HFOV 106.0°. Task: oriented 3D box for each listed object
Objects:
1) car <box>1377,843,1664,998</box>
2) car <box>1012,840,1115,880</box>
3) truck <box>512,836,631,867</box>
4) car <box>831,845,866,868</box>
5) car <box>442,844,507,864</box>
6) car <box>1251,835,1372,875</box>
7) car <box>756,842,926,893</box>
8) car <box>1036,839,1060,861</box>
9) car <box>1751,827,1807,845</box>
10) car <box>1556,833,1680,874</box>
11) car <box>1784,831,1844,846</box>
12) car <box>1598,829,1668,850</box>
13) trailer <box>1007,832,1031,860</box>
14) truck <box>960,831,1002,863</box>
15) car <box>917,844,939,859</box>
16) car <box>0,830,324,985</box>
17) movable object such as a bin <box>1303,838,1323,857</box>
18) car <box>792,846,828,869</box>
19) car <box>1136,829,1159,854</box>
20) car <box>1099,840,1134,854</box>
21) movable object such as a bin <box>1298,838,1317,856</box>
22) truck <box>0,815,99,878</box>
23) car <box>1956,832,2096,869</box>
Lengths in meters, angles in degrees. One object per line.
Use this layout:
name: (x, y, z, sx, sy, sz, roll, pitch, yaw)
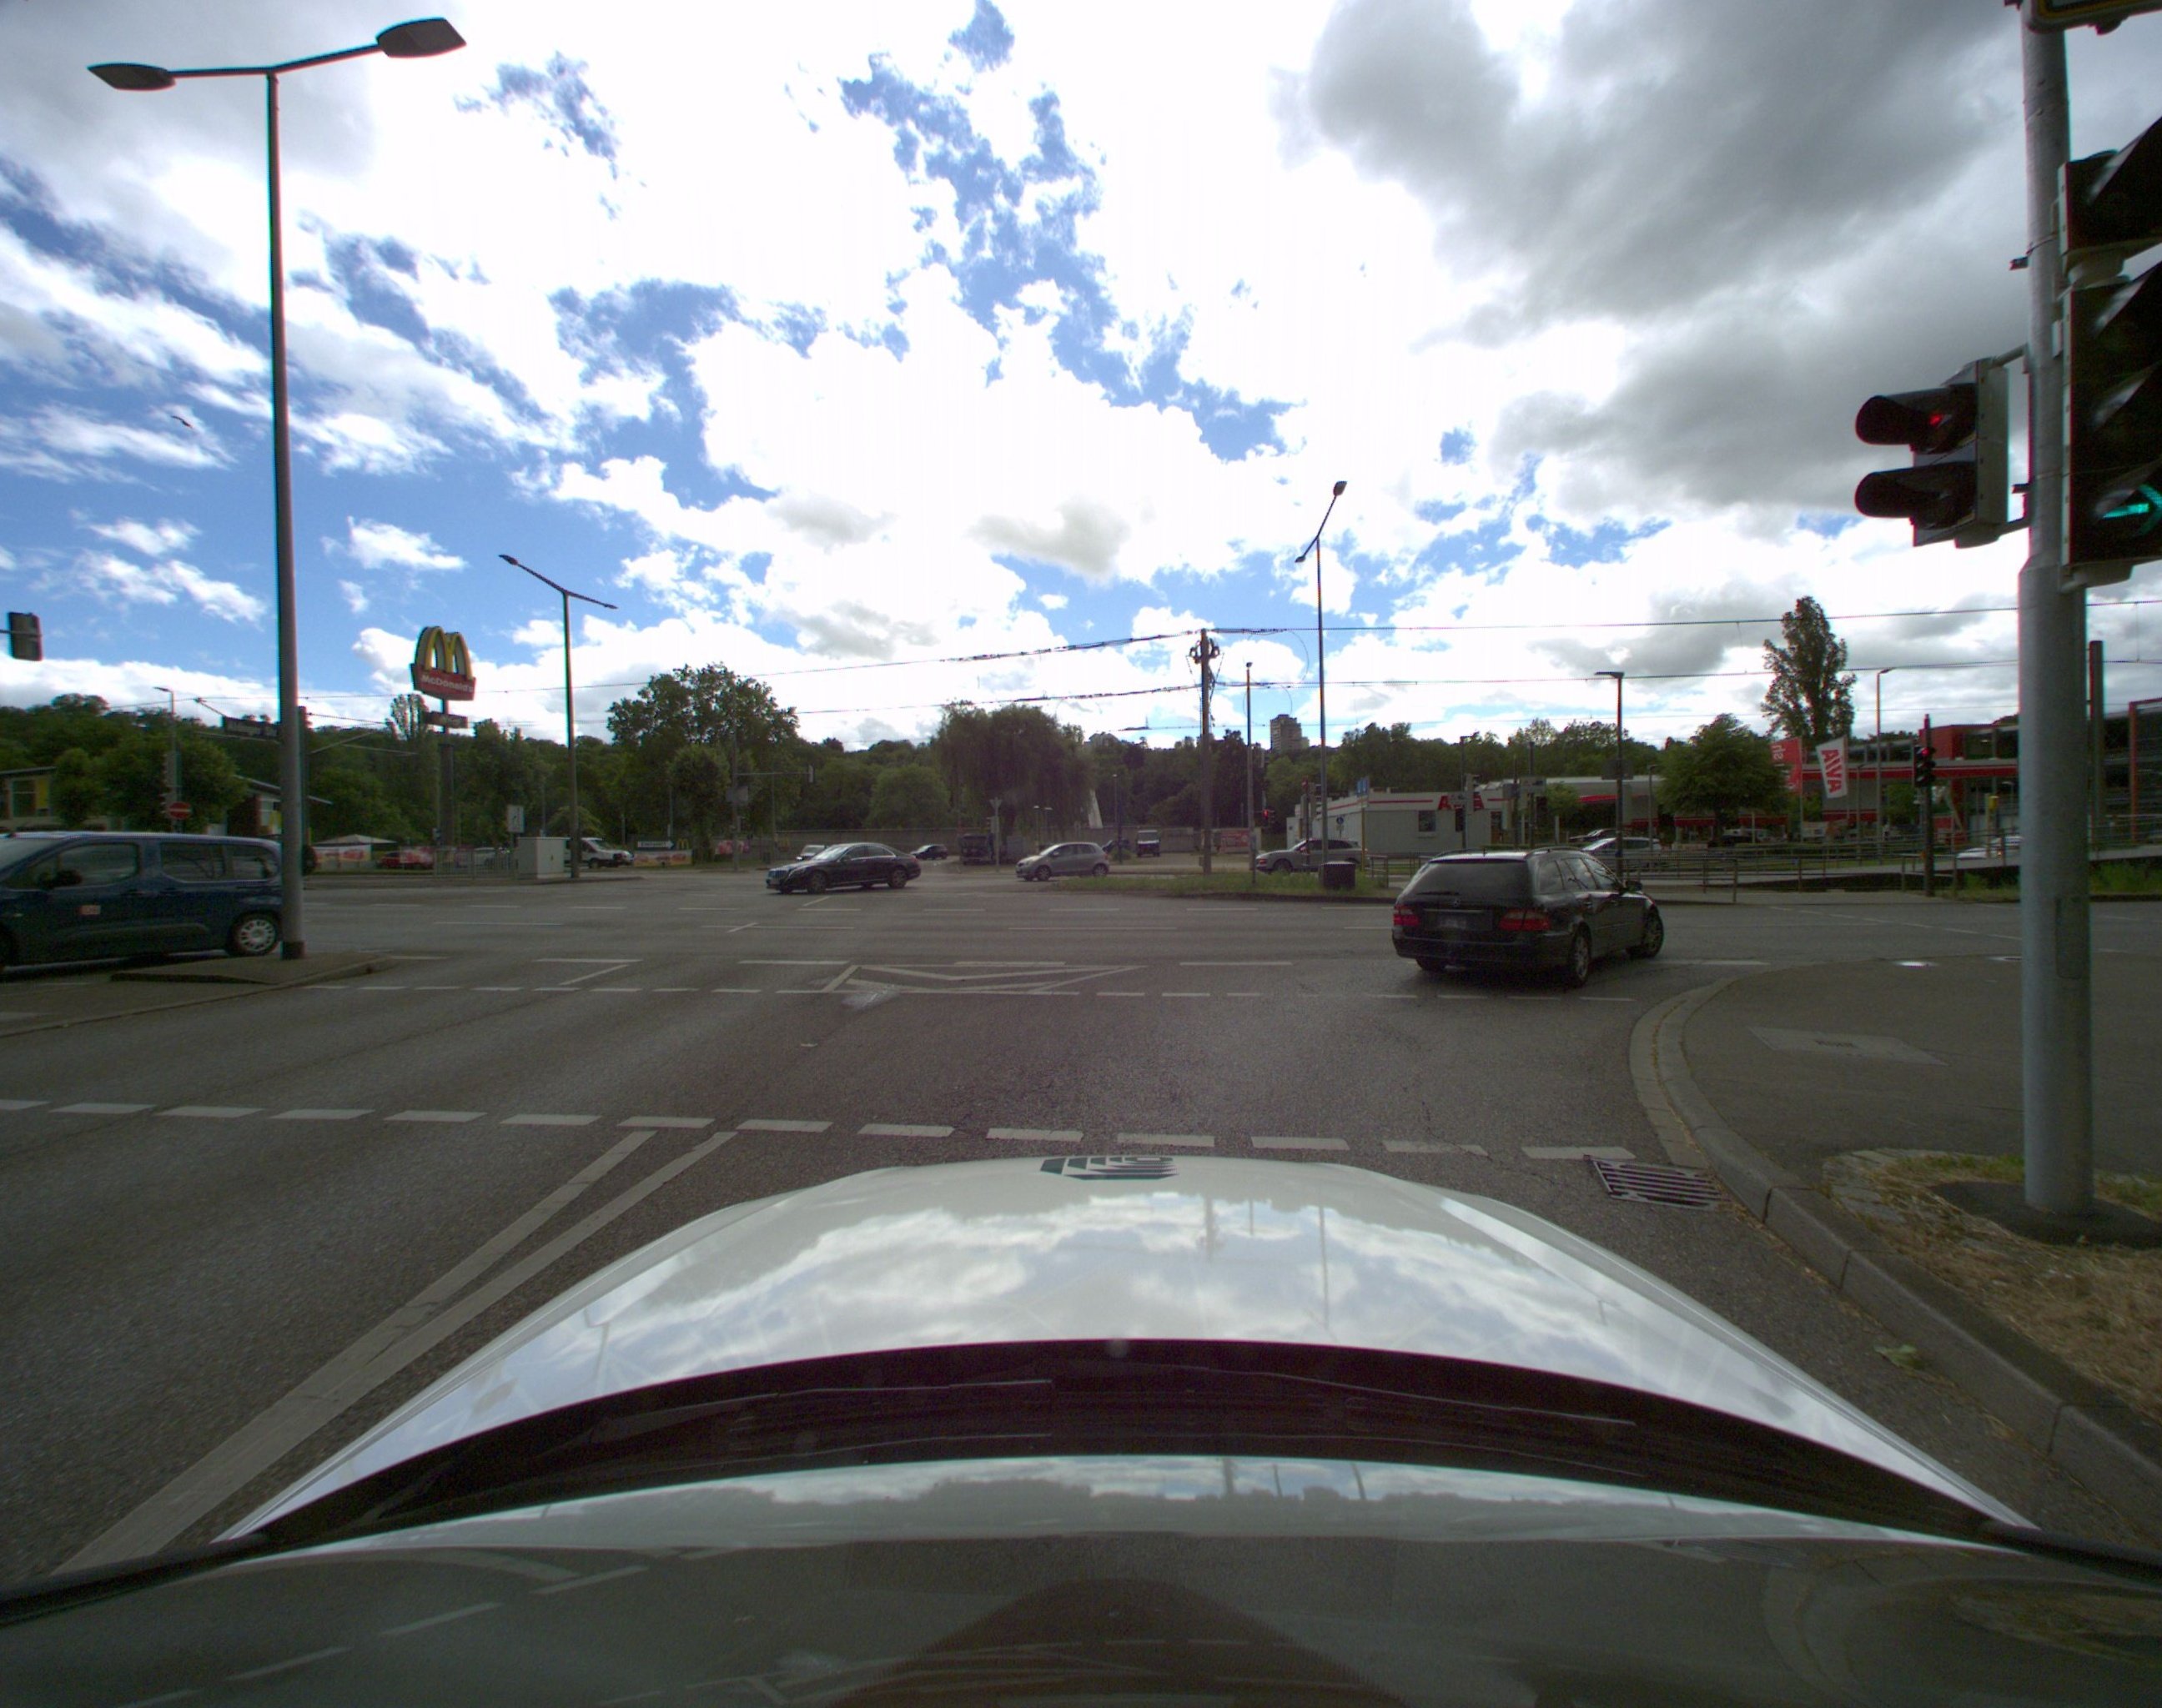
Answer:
car: (5.617, 0.630, 10.131, 4.441, 1.478, 1.817, -1, 1, -43)
car: (-0.719, 0.221, 32.644, 3.792, 1.487, 1.664, -1, 1, -23)
truck: (-33.494, -0.148, 53.657, 6.155, 1.905, 2.602, 0, -1, 1)
car: (-15.420, 0.126, 54.183, 1.791, 1.432, 4.403, -1, 1, -10)
car: (-48.791, -0.015, 65.590, 3.969, 1.529, 1.784, 0, -1, 3)
car: (9.926, 0.051, 35.315, 4.819, 1.642, 1.678, -1, 1, 3)
car: (-7.497, 0.356, 25.932, 1.808, 1.450, 5.026, 0, 1, 40)
car: (-2.706, -0.338, 67.702, 1.743, 1.743, 3.858, -1, 2, 1)
car: (70.965, -1.857, 82.862, 4.032, 1.752, 1.915, 0, -1, 0)
car: (22.691, -0.021, 34.547, 4.093, 1.641, 1.752, -1, 1, 3)
car: (69.768, -1.431, 77.581, 4.032, 1.365, 1.916, 0, -1, 0)
car: (36.893, -0.959, 54.474, 3.608, 1.350, 1.620, -1, 1, 3)
trailer: (-5.185, -0.622, 68.935, 1.549, 2.258, 4.394, 0, -1, 2)
truck: (-8.122, -0.553, 66.887, 2.368, 2.494, 5.832, -1, 1, 4)
car: (-14.942, -0.237, 79.834, 1.788, 1.432, 4.274, -1, 1, -6)
car: (-12.683, 0.594, 10.237, 1.816, 1.706, 4.484, 0, 0, 6)
movable object such as a bin: (18.668, -0.524, 65.598, 1.360, 1.494, 1.107, 0, -1, 8)
car: (-18.687, 0.220, 56.135, 1.801, 1.432, 3.609, -1, 1, -28)
car: (5.829, -1.058, 71.879, 1.833, 2.052, 4.383, 0, -1, 2)
car: (3.888, -0.755, 88.611, 3.624, 1.554, 1.724, 0, -1, -5)
movable object such as a bin: (18.818, -0.598, 67.593, 1.360, 1.484, 1.107, 0, -1, 8)
truck: (-63.510, -0.375, 47.457, 8.636, 3.560, 3.440, 0, -1, 2)
car: (39.013, -0.150, 33.673, 3.801, 1.454, 1.634, -1, 1, 3)
